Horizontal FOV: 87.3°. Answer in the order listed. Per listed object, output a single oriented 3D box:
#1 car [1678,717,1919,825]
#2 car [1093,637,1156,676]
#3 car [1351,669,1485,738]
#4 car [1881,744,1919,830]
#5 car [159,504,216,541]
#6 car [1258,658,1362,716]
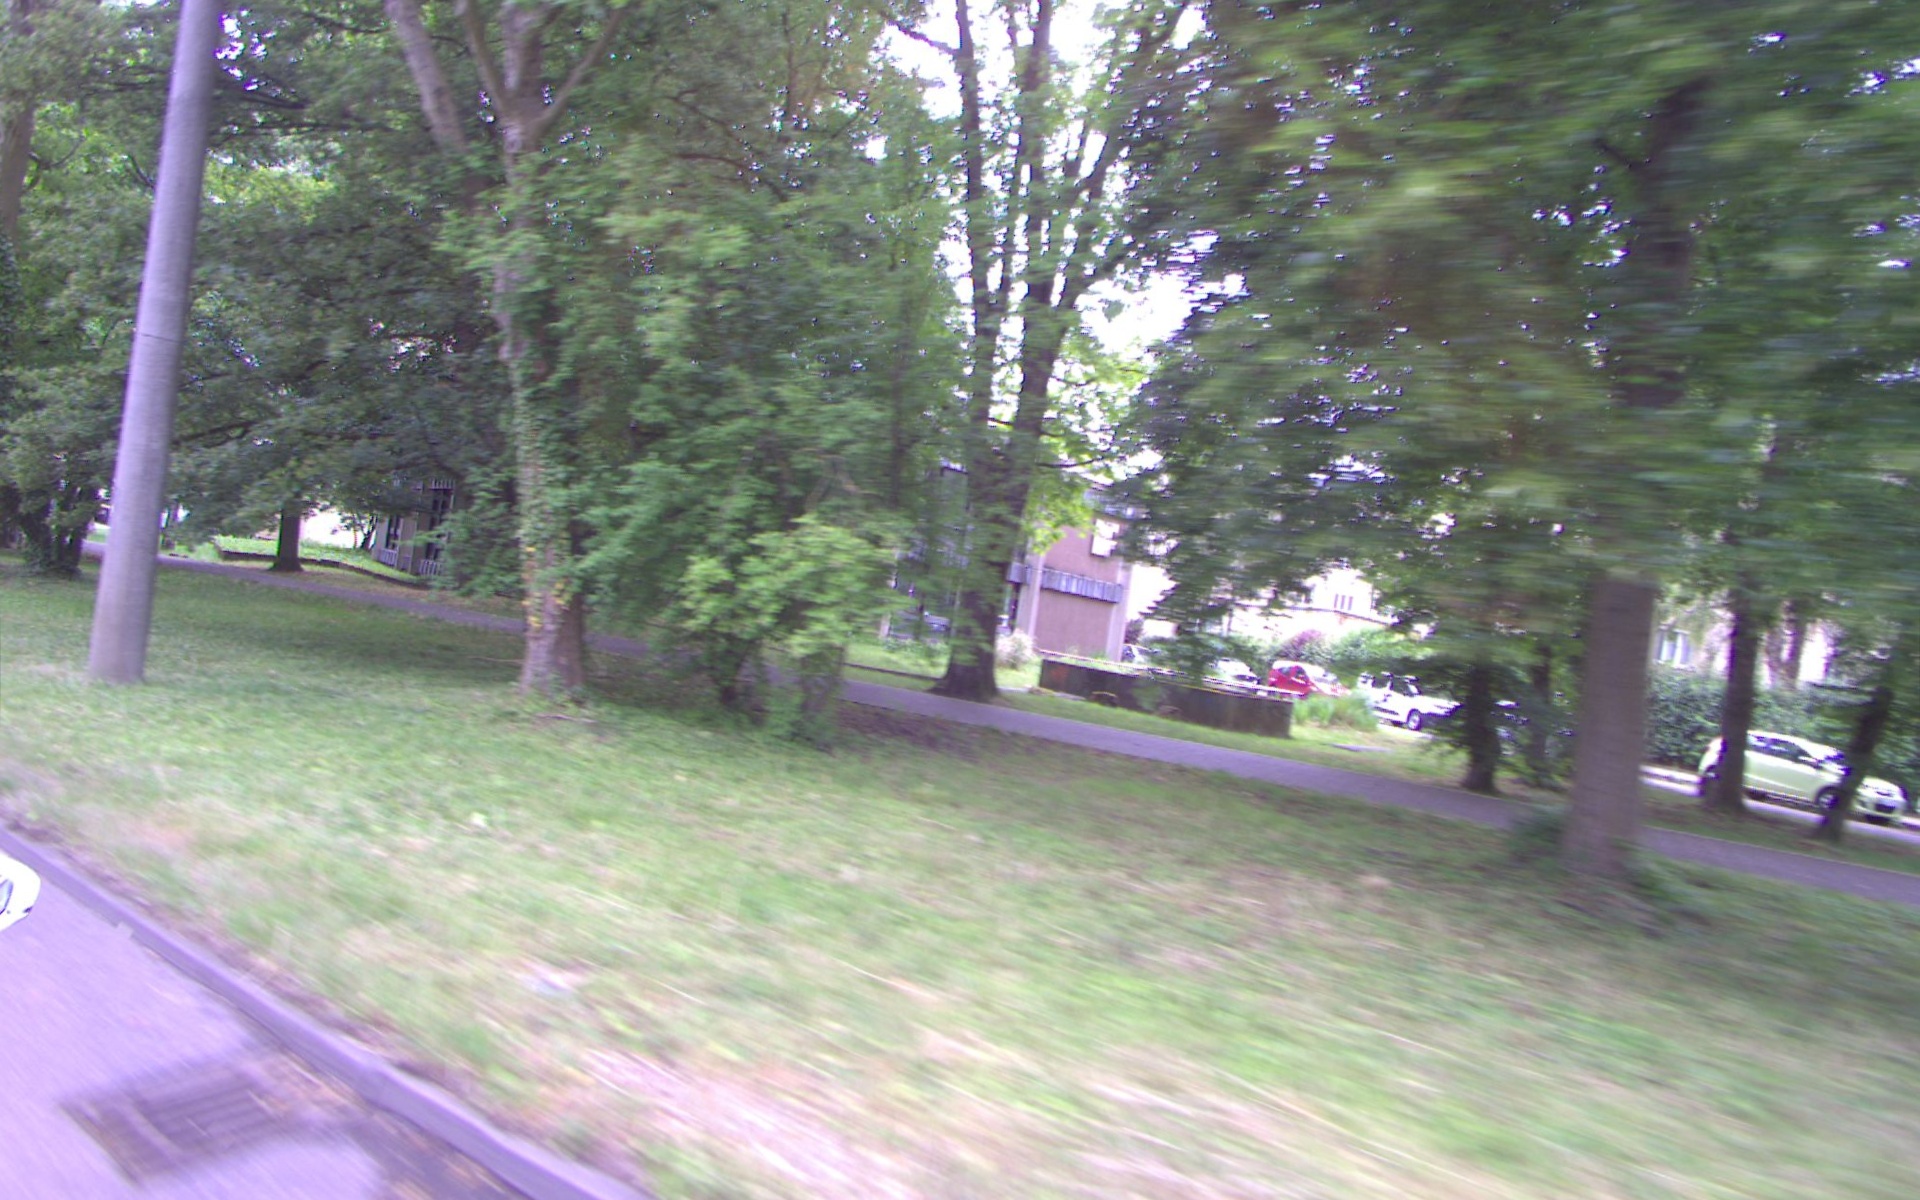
[{"bbox_3d":[18.411,3.671,22.062,1.773,1.528,3.988,8,-1,-15],"label":"car"},{"bbox_3d":[8.965,3.053,55.071,1.773,1.694,3.989,8,-1,-15],"label":"car"},{"bbox_3d":[15.168,3.397,33.576,1.773,1.694,3.989,8,-1,-15],"label":"car"},{"bbox_3d":[19.300,3.697,17.447,1.772,1.528,4.593,8,-1,-13],"label":"car"},{"bbox_3d":[-49.907,-5.042,64.965,4.900,1.866,2.082,8,1,43],"label":"car"},{"bbox_3d":[13.637,3.372,39.429,1.773,1.694,3.989,8,-1,-15],"label":"car"}]
